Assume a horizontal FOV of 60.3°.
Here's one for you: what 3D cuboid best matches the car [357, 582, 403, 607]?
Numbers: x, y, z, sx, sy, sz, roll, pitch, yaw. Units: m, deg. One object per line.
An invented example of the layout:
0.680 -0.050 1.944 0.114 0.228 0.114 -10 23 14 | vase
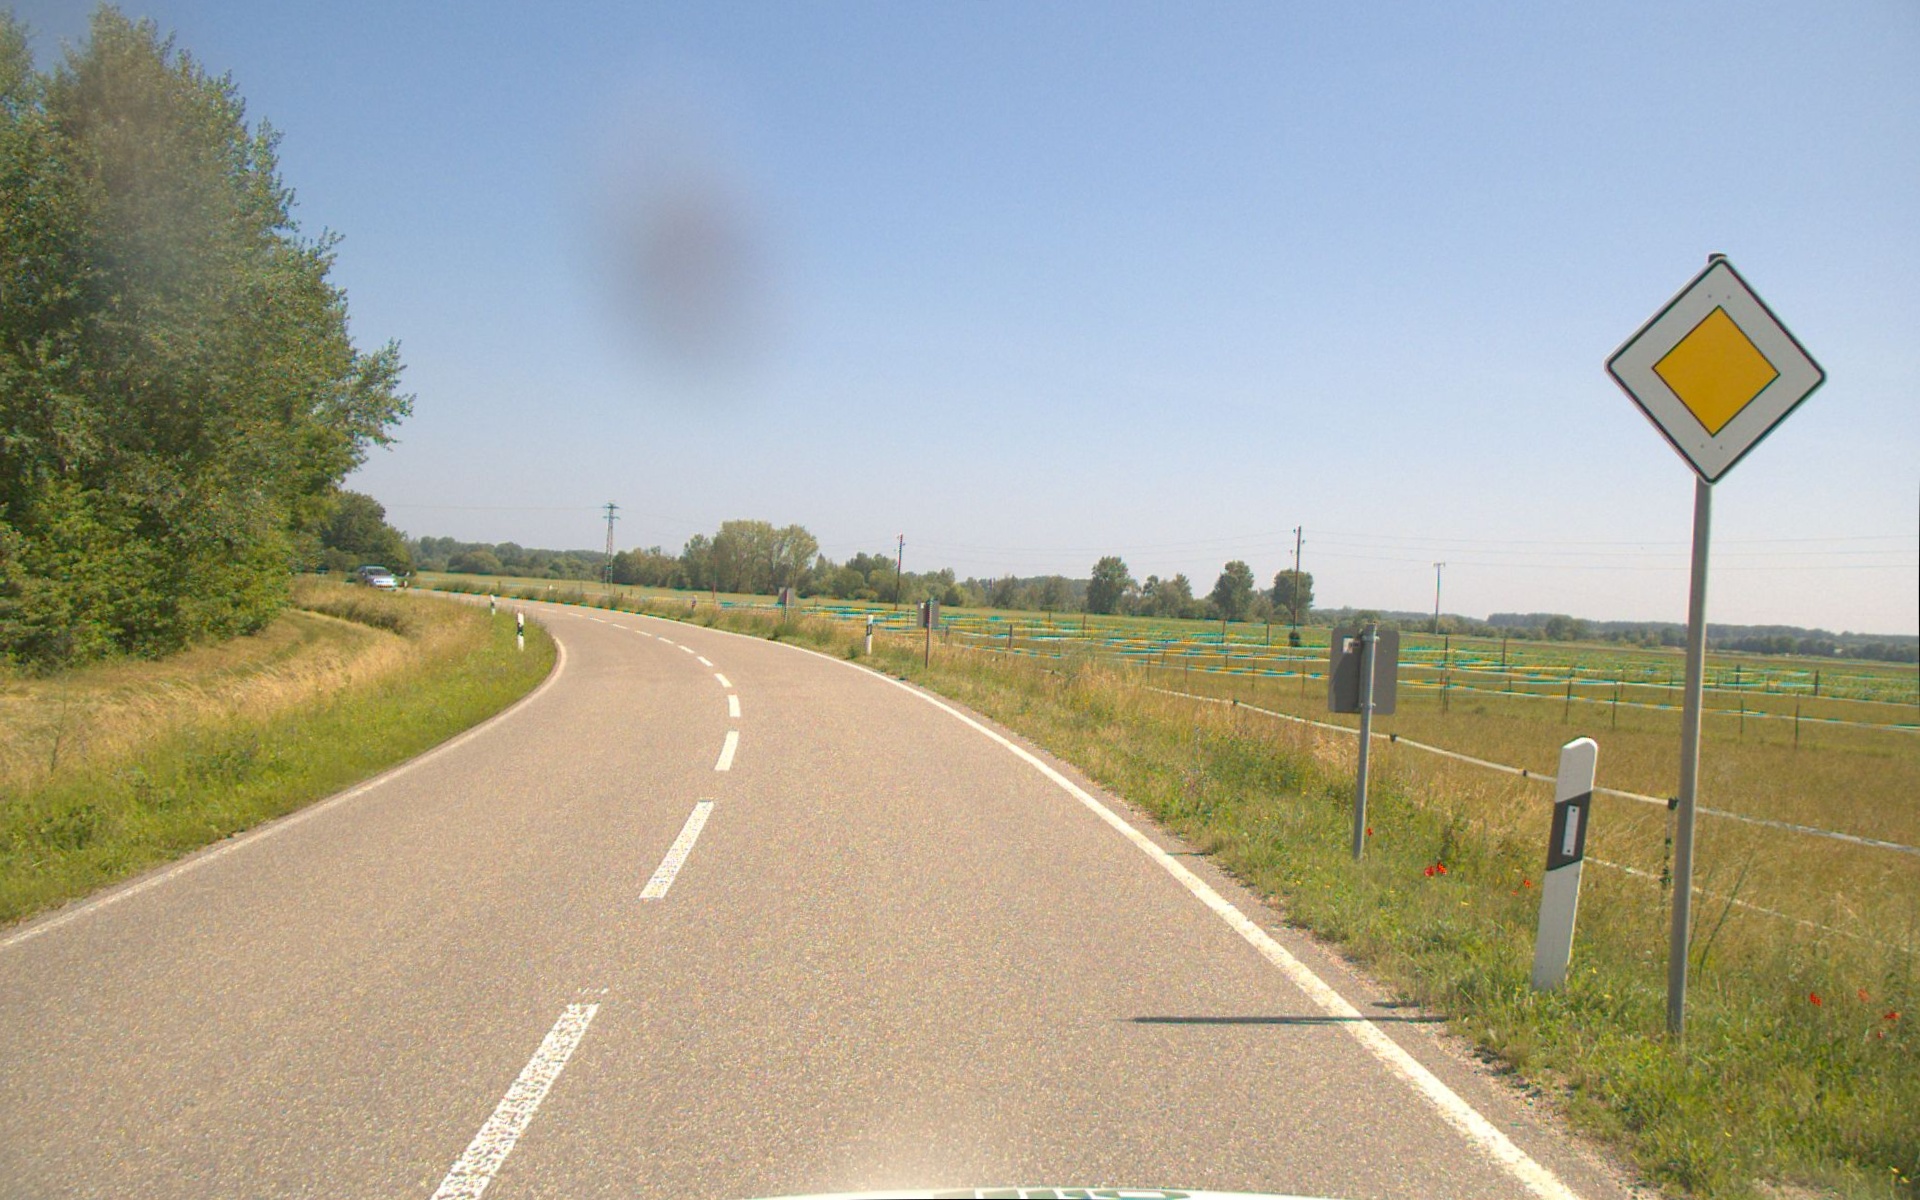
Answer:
-35.117 -0.357 100.095 1.767 1.452 4.013 -1 1 -33 | car
